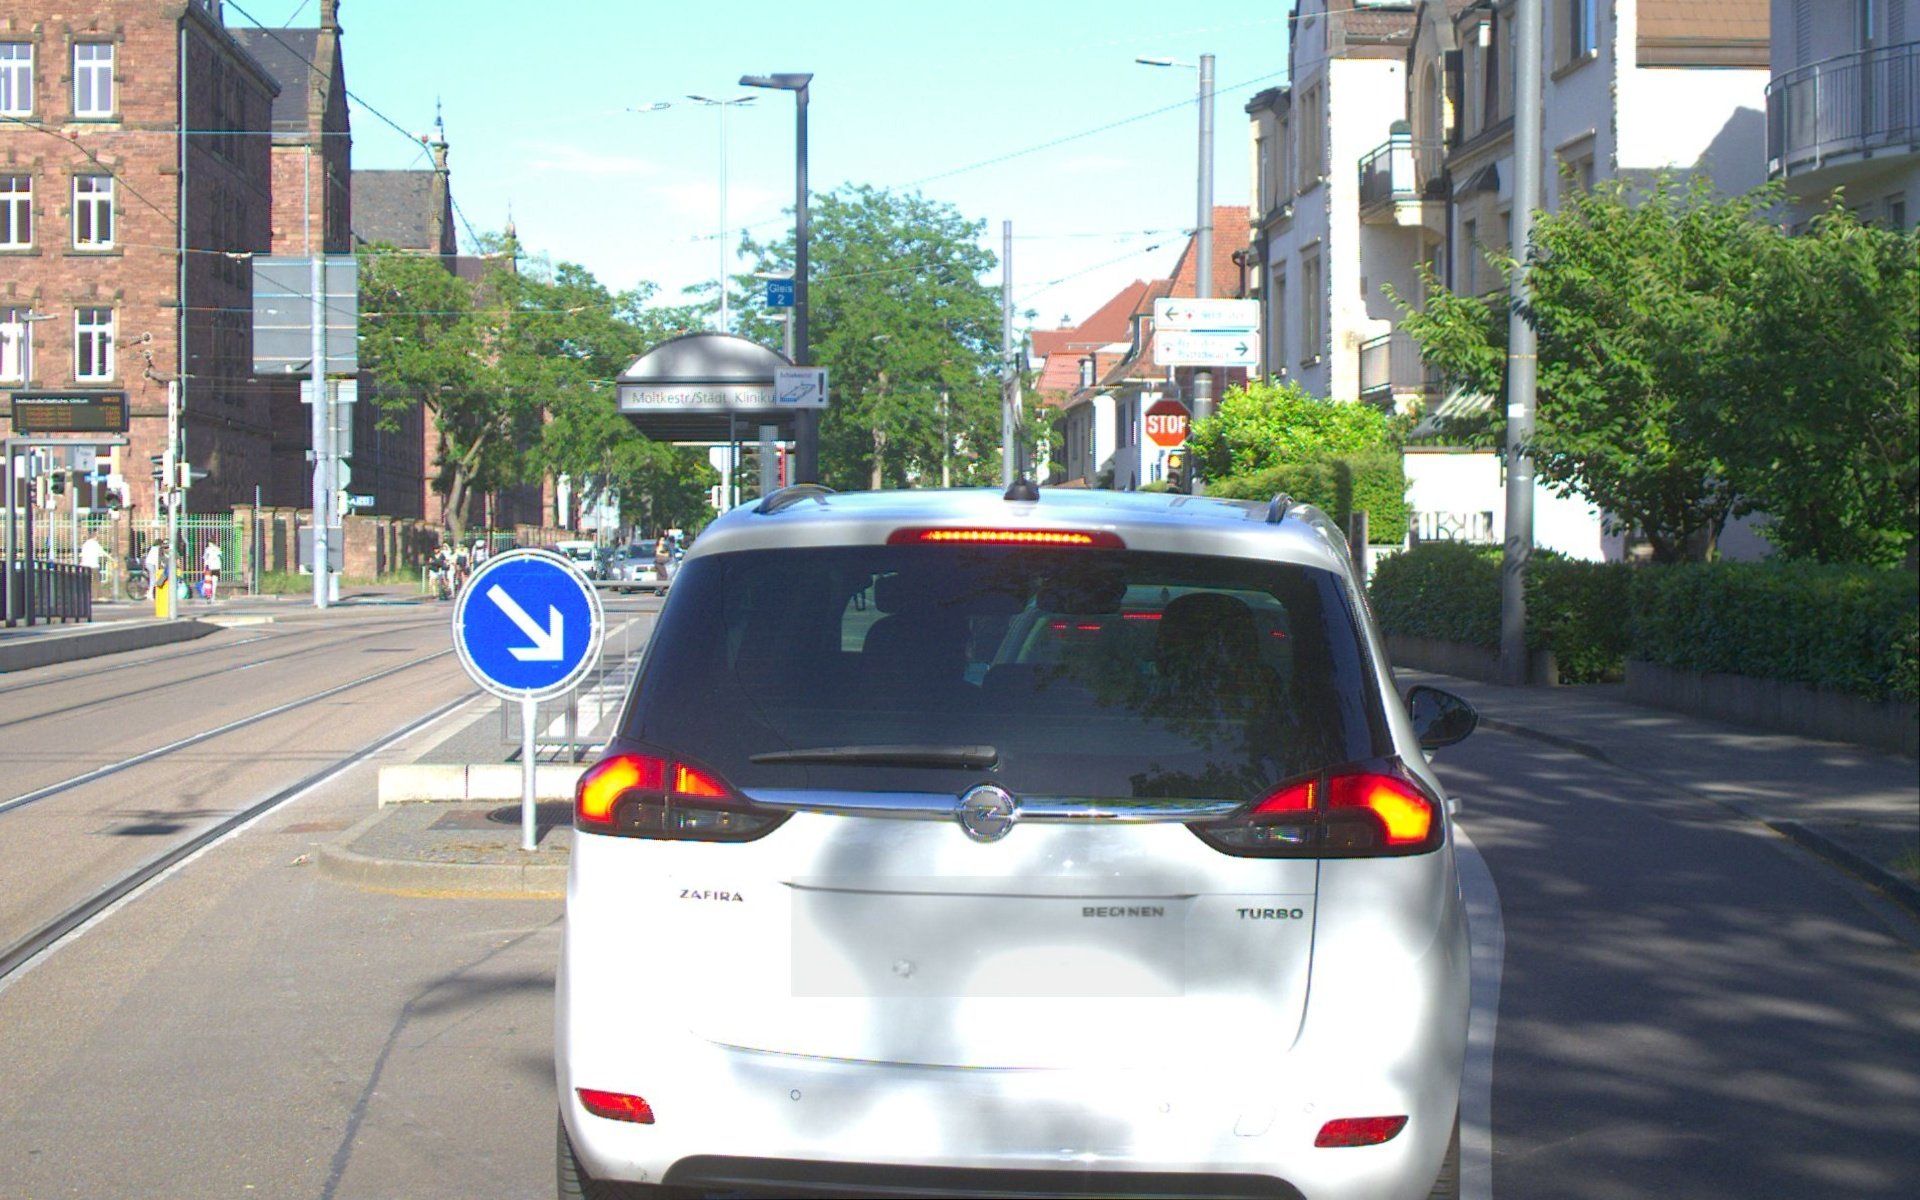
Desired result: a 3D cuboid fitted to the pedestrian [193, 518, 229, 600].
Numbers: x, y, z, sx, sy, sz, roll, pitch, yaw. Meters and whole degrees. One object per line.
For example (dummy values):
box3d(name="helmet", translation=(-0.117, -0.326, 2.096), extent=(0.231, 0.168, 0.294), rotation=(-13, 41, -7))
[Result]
box3d(name="pedestrian", translation=(-18.523, -1.010, 84.974), extent=(0.794, 2.007, 0.721), rotation=(1, 0, -17))

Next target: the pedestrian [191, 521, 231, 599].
box3d(name="pedestrian", translation=(-19.454, -1.038, 89.290), extent=(0.795, 2.007, 0.721), rotation=(1, 0, -29))

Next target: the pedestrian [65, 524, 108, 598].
box3d(name="pedestrian", translation=(-22.620, -1.002, 89.010), extent=(0.808, 1.894, 0.743), rotation=(1, 0, 14))

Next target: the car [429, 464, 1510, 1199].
box3d(name="car", translation=(0.231, 0.554, 8.027), extent=(1.907, 1.656, 3.999), rotation=(0, 1, 7))

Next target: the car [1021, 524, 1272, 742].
box3d(name="car", translation=(1.567, 0.211, 28.271), extent=(1.907, 1.656, 4.000), rotation=(0, 1, 4))

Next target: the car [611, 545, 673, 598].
box3d(name="car", translation=(-10.645, -0.962, 115.216), extent=(1.746, 1.710, 4.000), rotation=(1, 1, -1))

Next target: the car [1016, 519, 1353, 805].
box3d(name="car", translation=(1.502, 0.314, 21.611), extent=(1.907, 1.619, 3.999), rotation=(0, 1, 7))

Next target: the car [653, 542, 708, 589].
box3d(name="car", translation=(-10.480, -1.310, 129.068), extent=(1.746, 1.710, 4.000), rotation=(1, 1, -1))

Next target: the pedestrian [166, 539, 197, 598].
box3d(name="pedestrian", translation=(-21.588, -0.872, 95.324), extent=(0.654, 1.606, 0.711), rotation=(1, 0, 2))

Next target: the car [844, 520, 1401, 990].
box3d(name="car", translation=(0.780, 0.488, 13.772), extent=(1.907, 1.592, 3.999), rotation=(0, 1, 7))

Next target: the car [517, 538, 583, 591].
box3d(name="car", translation=(-13.546, -1.168, 113.710), extent=(1.746, 1.710, 4.000), rotation=(1, 1, -1))

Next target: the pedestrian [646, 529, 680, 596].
box3d(name="pedestrian", translation=(-8.504, -1.081, 98.533), extent=(0.741, 1.894, 0.811), rotation=(1, 0, -22))

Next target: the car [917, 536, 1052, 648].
box3d(name="car", translation=(0.340, -0.157, 53.086), extent=(1.907, 1.656, 4.001), rotation=(0, 1, -2))

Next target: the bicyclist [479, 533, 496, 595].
box3d(name="bicyclist", translation=(-15.337, -1.159, 111.591), extent=(0.488, 2.007, 0.502), rotation=(1, 0, -1))

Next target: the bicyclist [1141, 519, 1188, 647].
box3d(name="bicyclist", translation=(2.727, -0.231, 45.739), extent=(0.616, 1.681, 0.779), rotation=(0, 1, 4))

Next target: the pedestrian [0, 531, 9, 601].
box3d(name="pedestrian", translation=(-24.674, -0.873, 87.686), extent=(0.766, 1.768, 0.721), rotation=(1, 0, -17))

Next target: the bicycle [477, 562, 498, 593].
box3d(name="bicycle", translation=(-15.346, -0.735, 111.628), extent=(0.487, 0.968, 1.405), rotation=(1, 1, 0))

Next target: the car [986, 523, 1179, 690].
box3d(name="car", translation=(1.244, 0.030, 36.108), extent=(1.907, 1.656, 4.000), rotation=(0, 1, 1))

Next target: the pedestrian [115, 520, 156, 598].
box3d(name="pedestrian", translation=(-21.194, -1.054, 88.345), extent=(0.795, 2.007, 0.720), rotation=(1, 0, -34))

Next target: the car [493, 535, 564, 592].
box3d(name="car", translation=(-13.421, -1.132, 107.043), extent=(1.746, 1.710, 4.000), rotation=(1, 1, -1))

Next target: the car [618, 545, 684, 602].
box3d(name="car", translation=(-9.633, -0.831, 107.359), extent=(1.746, 1.710, 4.000), rotation=(1, 1, -1))

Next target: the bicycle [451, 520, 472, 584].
box3d(name="bicycle", translation=(-15.778, -1.521, 108.869), extent=(0.487, 2.007, 1.405), rotation=(0, 1, 0))

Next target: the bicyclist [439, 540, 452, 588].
box3d(name="bicyclist", translation=(-15.420, -1.076, 103.039), extent=(0.313, 1.439, 0.384), rotation=(0, 1, -1))

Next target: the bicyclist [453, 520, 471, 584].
box3d(name="bicyclist", translation=(-15.781, -1.520, 108.865), extent=(0.498, 2.007, 0.572), rotation=(0, 1, -1))
